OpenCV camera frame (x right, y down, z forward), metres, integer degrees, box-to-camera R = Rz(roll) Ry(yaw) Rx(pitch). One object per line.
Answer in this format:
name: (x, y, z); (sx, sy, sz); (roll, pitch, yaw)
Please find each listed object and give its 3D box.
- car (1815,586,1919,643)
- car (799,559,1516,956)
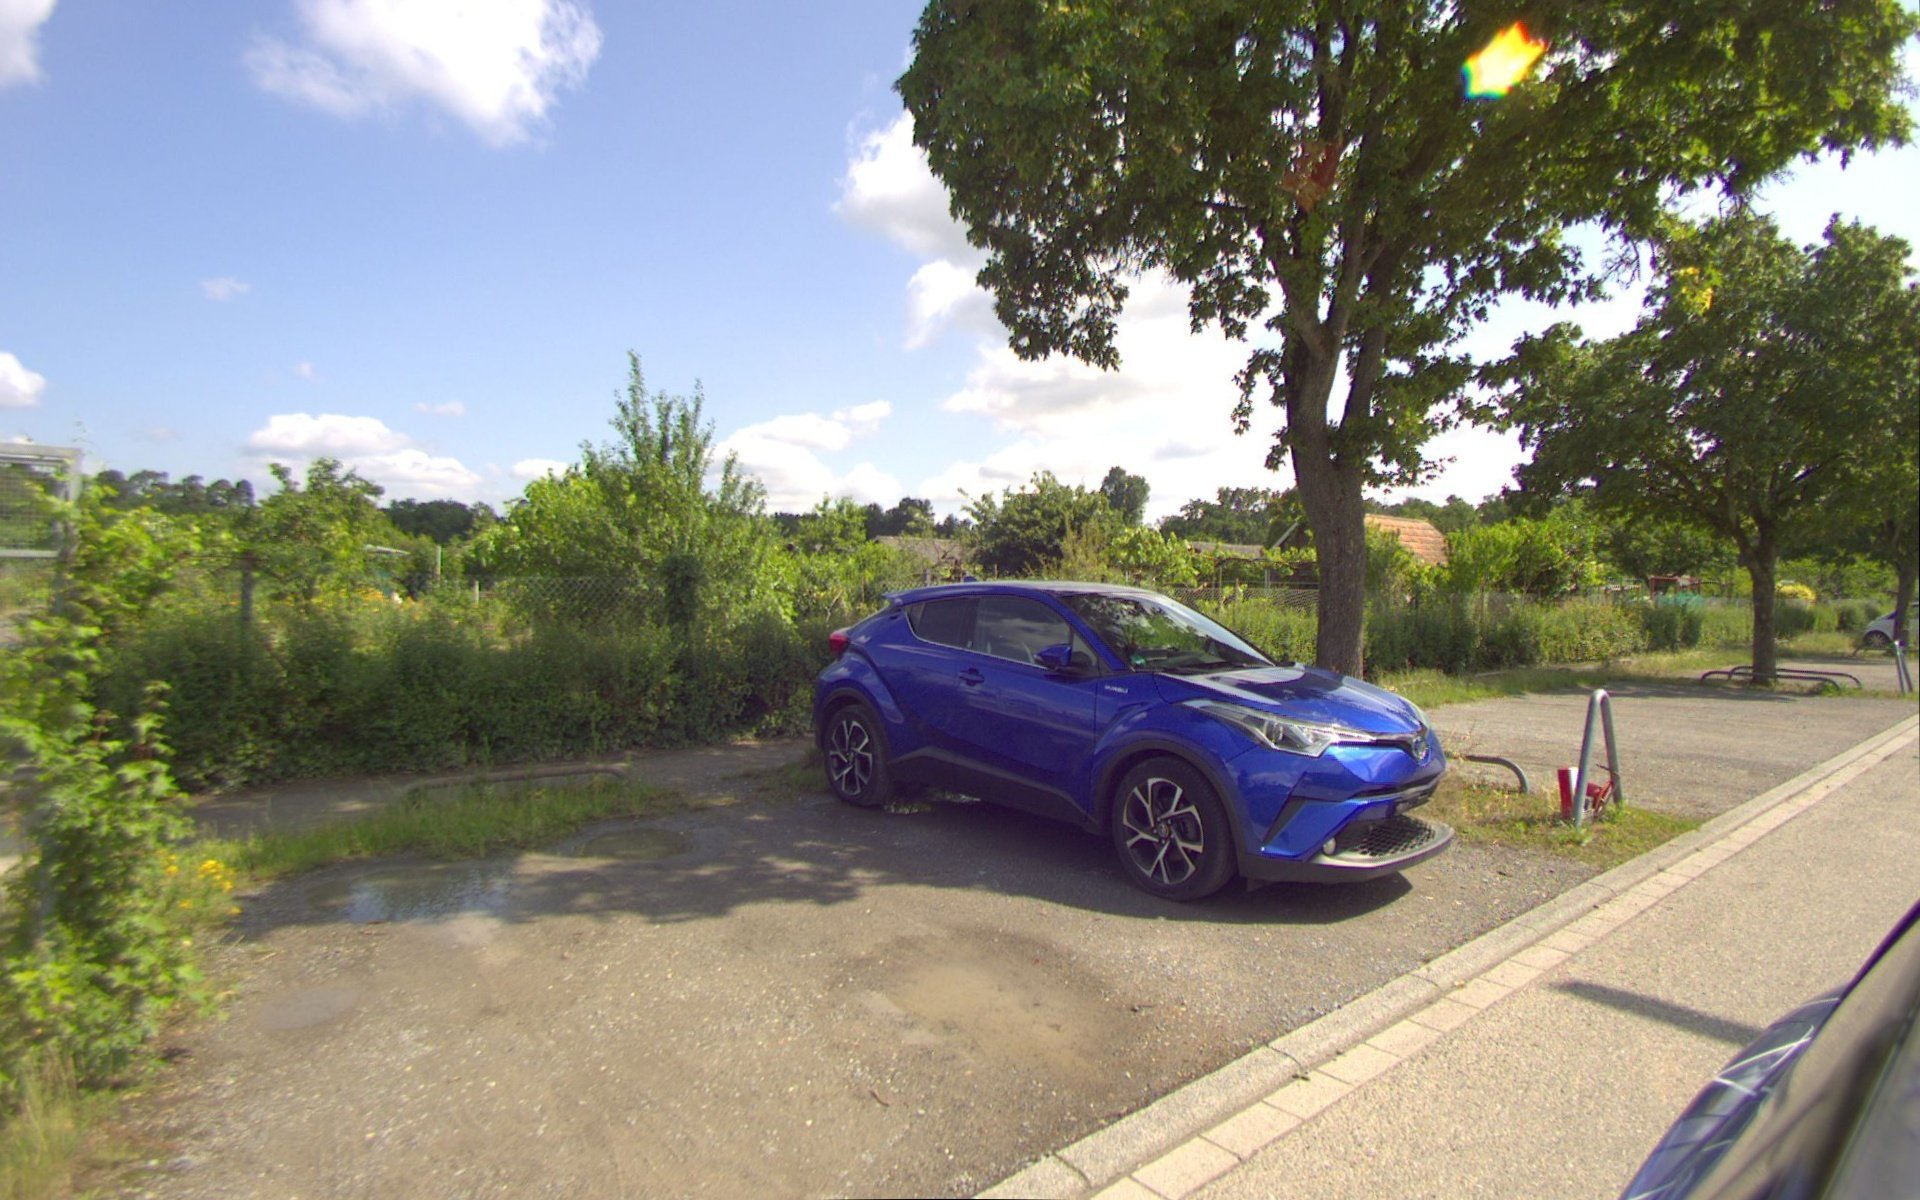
car: (30.129, 0.436, 32.417); (1.965, 1.772, 3.926); (-1, 0, -40)
car: (0.865, 0.577, 6.213); (1.750, 1.602, 4.112); (0, 1, -41)
